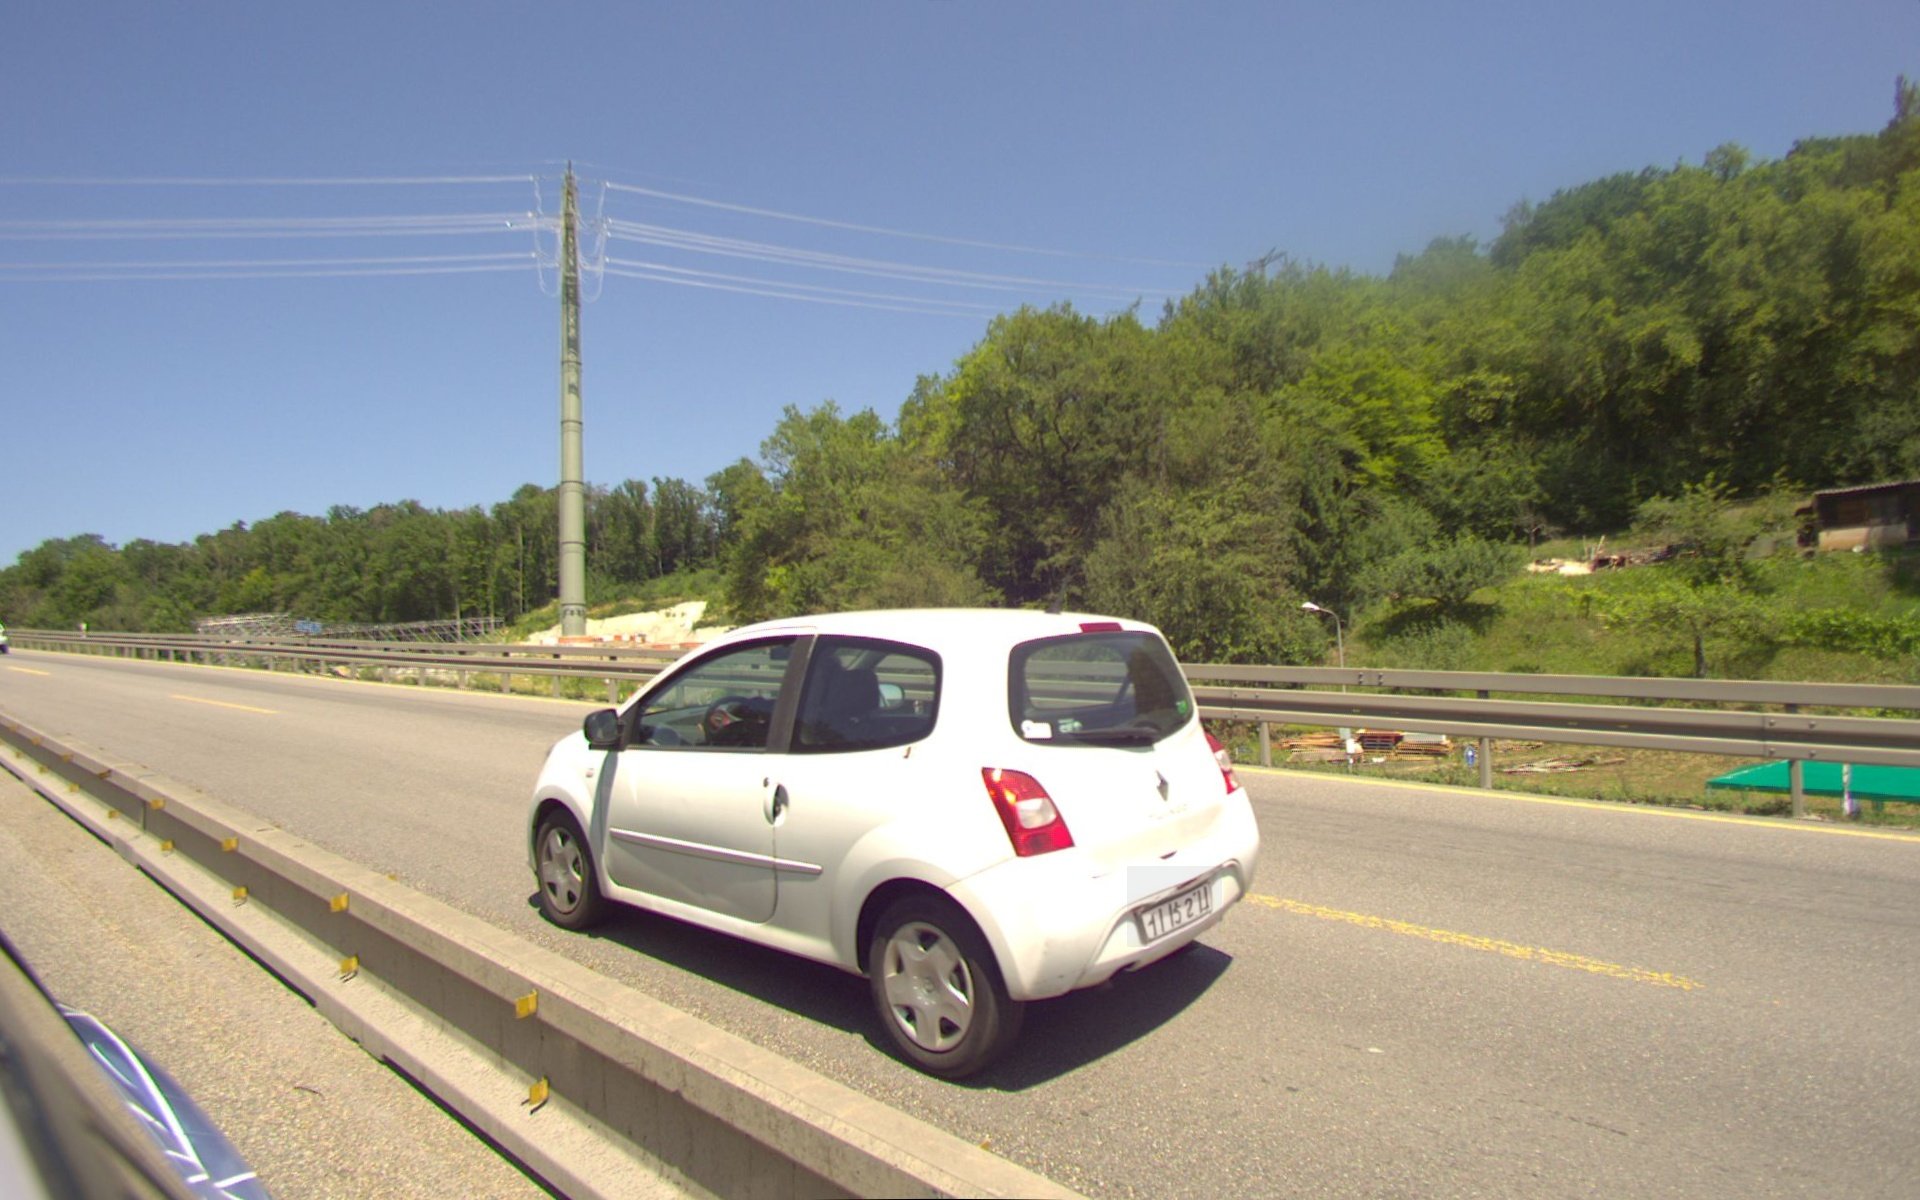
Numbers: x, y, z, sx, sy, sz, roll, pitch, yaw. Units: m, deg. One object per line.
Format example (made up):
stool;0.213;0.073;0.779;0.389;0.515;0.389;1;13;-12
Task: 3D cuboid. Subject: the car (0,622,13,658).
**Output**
car;-41.824;1.680;43.109;3.997;1.504;1.682;-1;-1;40

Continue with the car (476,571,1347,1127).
car;-0.461;0.699;4.508;3.707;1.437;1.729;-2;-2;41
